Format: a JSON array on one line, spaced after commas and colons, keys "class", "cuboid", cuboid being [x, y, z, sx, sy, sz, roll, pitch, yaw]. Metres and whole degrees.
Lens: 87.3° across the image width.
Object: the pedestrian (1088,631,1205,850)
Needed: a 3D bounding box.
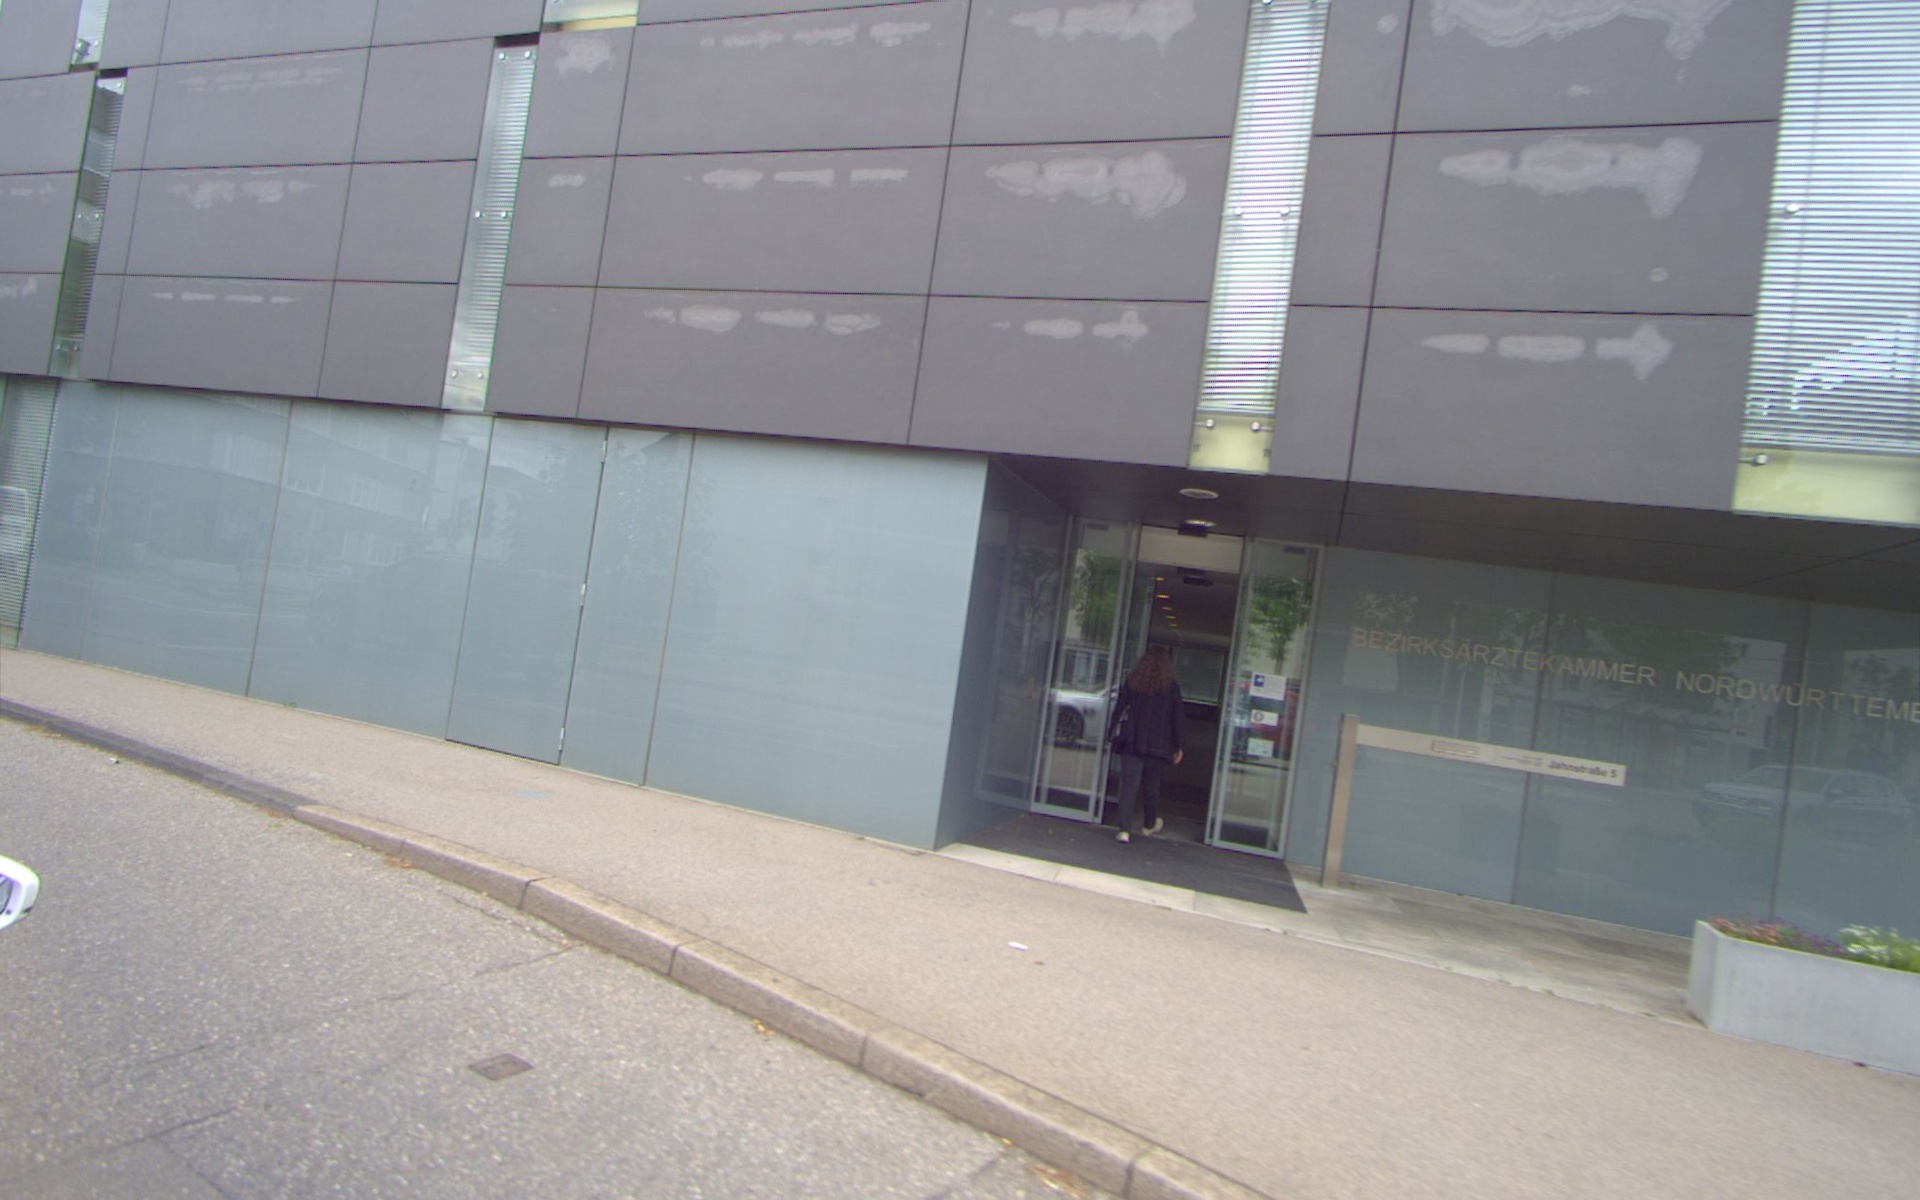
[{"class": "pedestrian", "cuboid": [1.647, 1.193, 8.790, 0.700, 1.713, 0.866, 7, -1, 18]}]
